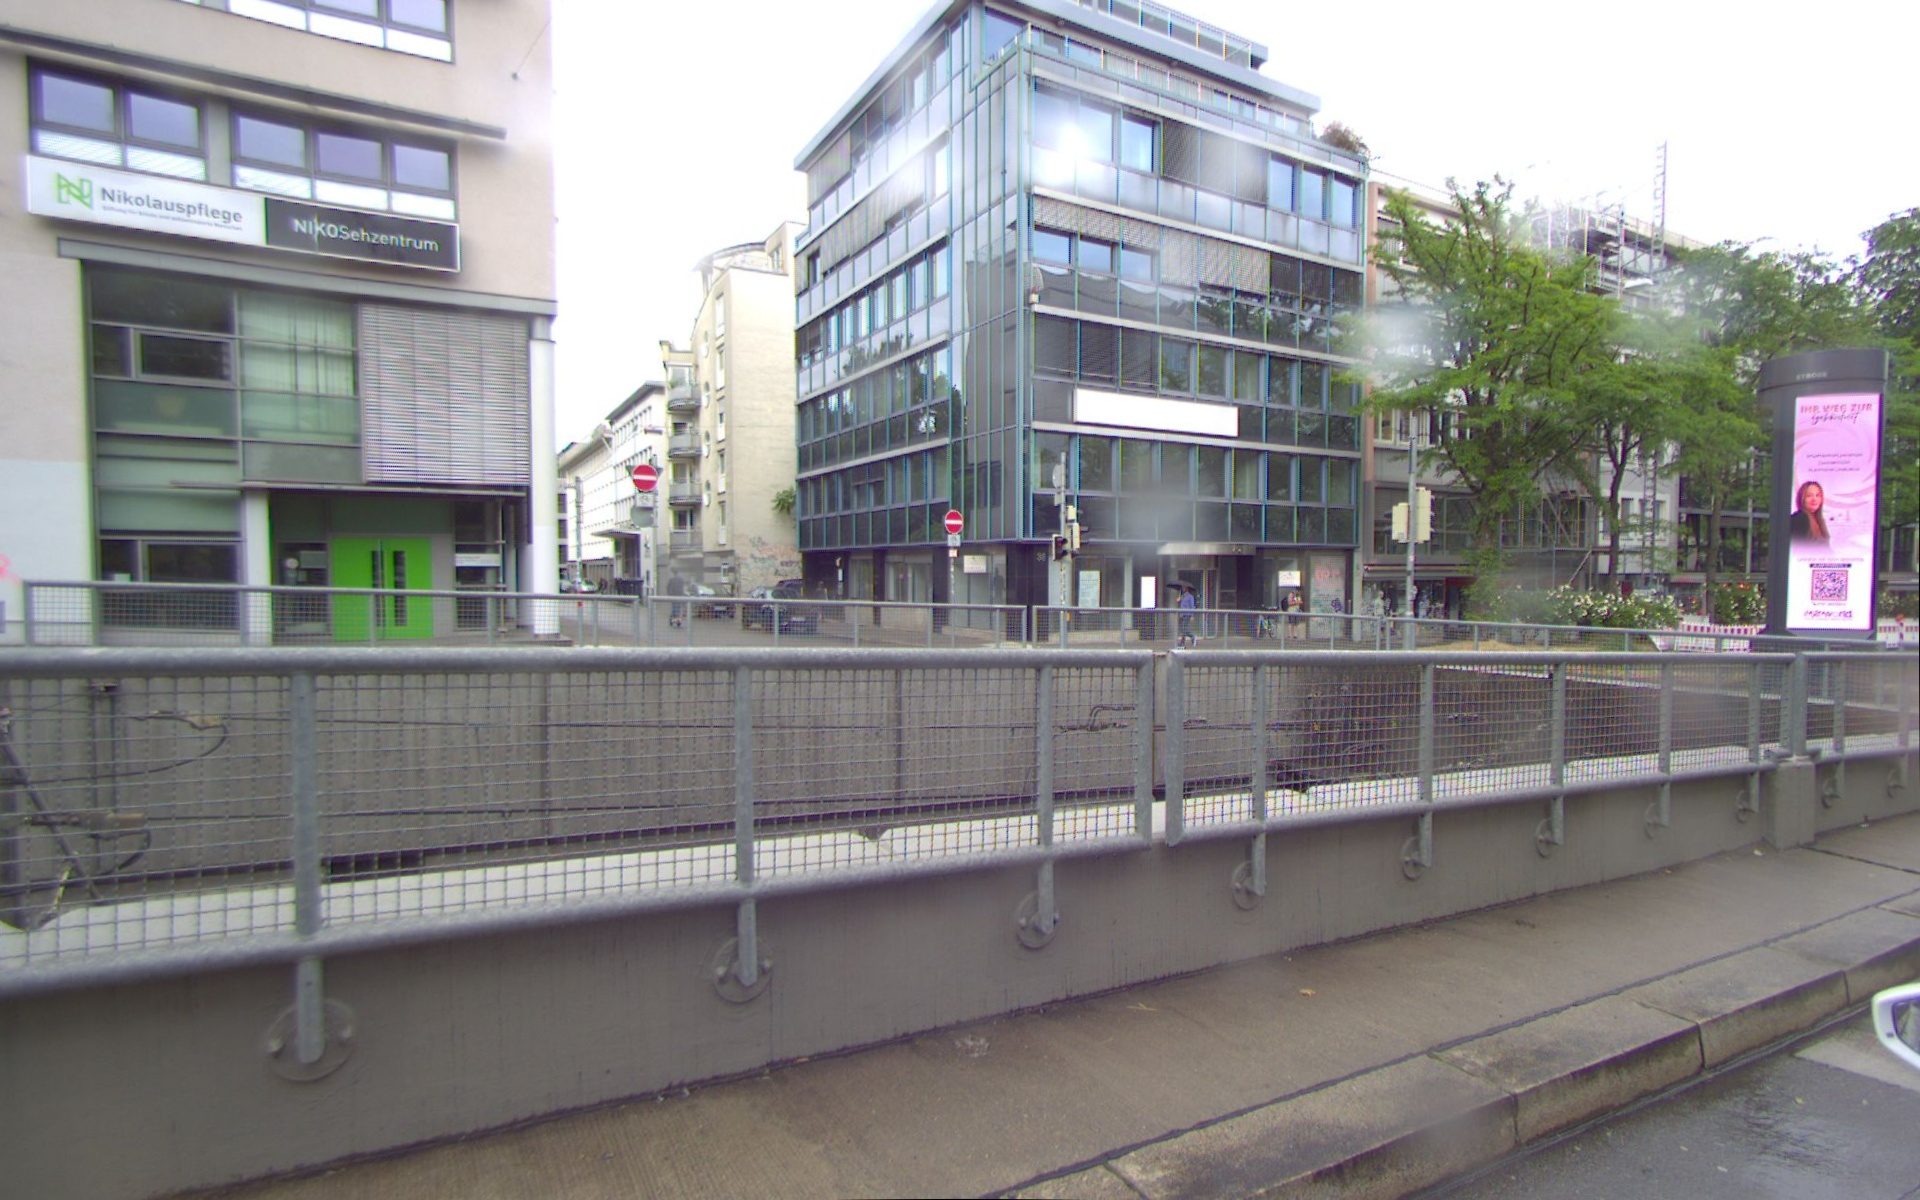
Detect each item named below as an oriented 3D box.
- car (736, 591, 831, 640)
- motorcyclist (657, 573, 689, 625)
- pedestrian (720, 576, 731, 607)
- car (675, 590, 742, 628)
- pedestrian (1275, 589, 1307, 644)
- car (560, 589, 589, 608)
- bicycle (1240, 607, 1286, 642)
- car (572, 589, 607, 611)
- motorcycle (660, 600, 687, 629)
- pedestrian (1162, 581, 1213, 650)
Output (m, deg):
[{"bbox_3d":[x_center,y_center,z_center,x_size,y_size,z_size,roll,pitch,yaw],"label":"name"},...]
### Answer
[{"bbox_3d":[-6.235,0.504,35.172,1.977,1.578,3.966,1,0,-31],"label":"car"},{"bbox_3d":[-10.229,-0.037,35.783,0.850,1.832,1.007,1,2,-29],"label":"motorcyclist"},{"bbox_3d":[-12.393,-0.452,53.180,0.443,1.664,0.326,1,2,-35],"label":"pedestrian"},{"bbox_3d":[-11.101,0.364,44.110,1.777,1.578,3.966,1,0,-31],"label":"car"},{"bbox_3d":[10.954,0.549,33.232,0.688,1.765,0.691,1,2,-35],"label":"pedestrian"},{"bbox_3d":[-33.934,-0.121,88.289,1.777,1.578,3.967,1,0,-30],"label":"car"},{"bbox_3d":[9.874,0.802,32.724,1.544,1.100,0.444,1,1,-27],"label":"bicycle"},{"bbox_3d":[-28.033,0.000,75.976,1.777,1.578,3.967,1,0,-30],"label":"car"},{"bbox_3d":[-10.215,0.508,35.790,0.696,0.984,0.977,1,2,-29],"label":"motorcycle"},{"bbox_3d":[6.336,0.433,27.969,1.047,1.863,0.853,1,2,-30],"label":"pedestrian"}]
